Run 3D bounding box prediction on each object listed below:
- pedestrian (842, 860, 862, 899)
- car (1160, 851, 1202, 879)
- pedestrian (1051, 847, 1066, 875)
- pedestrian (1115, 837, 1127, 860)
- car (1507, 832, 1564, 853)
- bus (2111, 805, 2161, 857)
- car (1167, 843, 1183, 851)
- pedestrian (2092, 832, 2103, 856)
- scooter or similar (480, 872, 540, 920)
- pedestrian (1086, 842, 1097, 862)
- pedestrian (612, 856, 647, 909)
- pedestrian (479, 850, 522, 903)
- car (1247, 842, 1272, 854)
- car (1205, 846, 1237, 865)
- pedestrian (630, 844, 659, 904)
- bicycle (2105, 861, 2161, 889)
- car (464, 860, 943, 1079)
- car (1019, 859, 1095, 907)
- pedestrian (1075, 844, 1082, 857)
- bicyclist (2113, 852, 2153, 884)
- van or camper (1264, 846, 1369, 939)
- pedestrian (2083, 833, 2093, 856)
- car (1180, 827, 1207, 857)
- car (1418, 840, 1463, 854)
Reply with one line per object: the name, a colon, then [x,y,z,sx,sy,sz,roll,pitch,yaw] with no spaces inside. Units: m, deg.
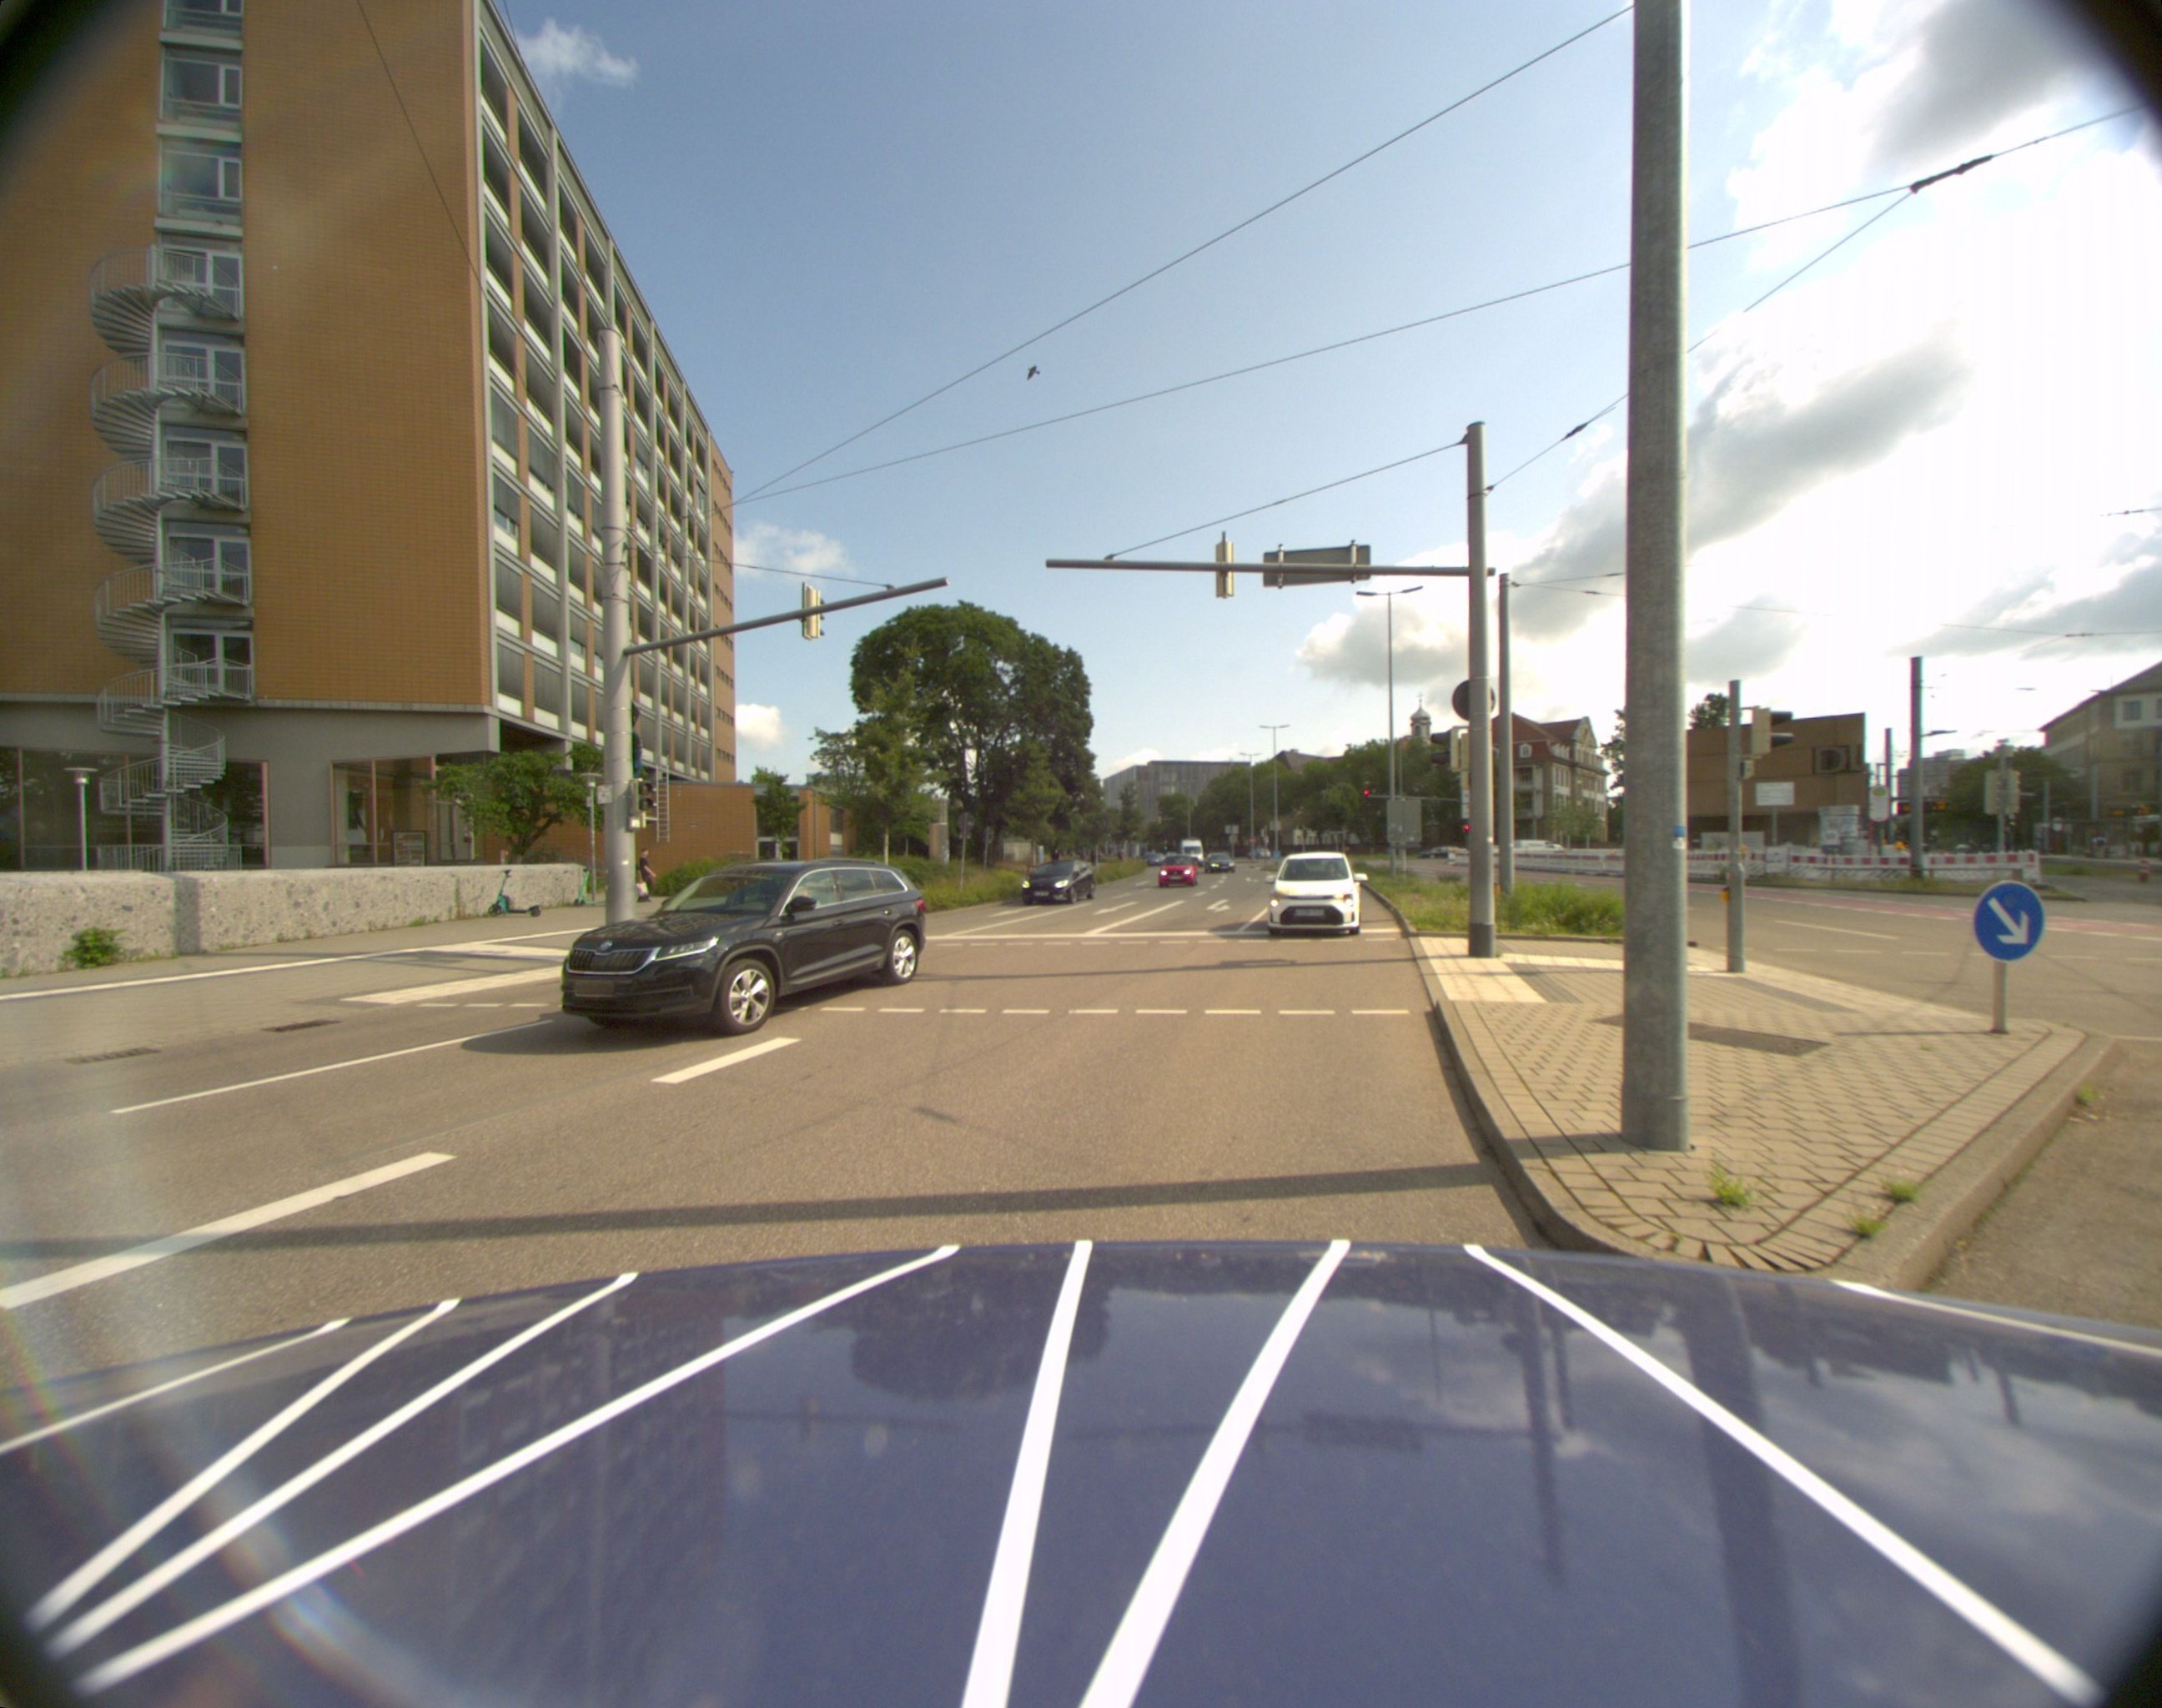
pedestrian: [-9.207,1.021,30.570,0.478,1.512,0.582,4,3,43]
car: [4.872,0.493,36.592,1.607,1.207,3.013,-1,2,15]
pedestrian: [-1.578,0.495,53.065,0.759,1.861,0.646,3,3,18]
pedestrian: [3.546,-0.455,67.241,0.986,2.002,1.130,-1,1,2]
car: [46.761,-1.164,78.171,5.076,2.002,1.997,-1,1,-13]
bus: [78.017,-1.658,54.630,12.278,3.487,2.956,-1,1,-45]
car: [19.209,-1.408,155.193,1.959,1.480,5.096,1,1,-7]
pedestrian: [69.121,-0.663,51.673,0.357,1.593,0.365,1,2,43]
scooter or similar: [-14.684,1.080,19.543,1.187,1.190,0.403,1,1,-8]
pedestrian: [1.087,-0.207,78.288,0.986,2.002,1.130,-1,1,2]
pedestrian: [-13.935,0.854,23.468,0.773,1.579,0.763,-1,1,-20]
pedestrian: [-17.942,0.692,23.483,0.941,1.579,0.762,2,2,-42]
car: [24.402,-0.796,104.117,1.999,1.560,4.779,1,1,-5]
car: [10.356,0.118,55.905,1.996,1.273,4.548,-1,1,14]
pedestrian: [-15.063,0.671,26.238,0.809,2.003,0.722,0,3,-34]
bicycle: [37.853,0.748,27.357,0.810,0.986,2.075,-1,-1,44]
car: [-3.647,0.983,8.544,1.996,1.658,4.690,-3,-1,19]
car: [-0.748,0.950,26.594,1.711,1.445,4.004,1,1,13]
pedestrian: [-0.405,-0.560,116.685,0.986,2.002,1.130,-1,1,1]
bicyclist: [37.815,0.506,27.320,0.695,1.145,0.740,0,-1,44]
van or camper: [4.709,0.657,14.933,1.625,1.467,4.005,-4,0,20]
pedestrian: [68.862,-0.662,51.964,0.357,1.593,0.365,1,2,43]
car: [11.023,-1.163,74.333,2.483,2.862,6.152,-1,1,8]
car: [38.382,-0.753,81.162,4.131,1.383,1.758,-1,1,-11]
